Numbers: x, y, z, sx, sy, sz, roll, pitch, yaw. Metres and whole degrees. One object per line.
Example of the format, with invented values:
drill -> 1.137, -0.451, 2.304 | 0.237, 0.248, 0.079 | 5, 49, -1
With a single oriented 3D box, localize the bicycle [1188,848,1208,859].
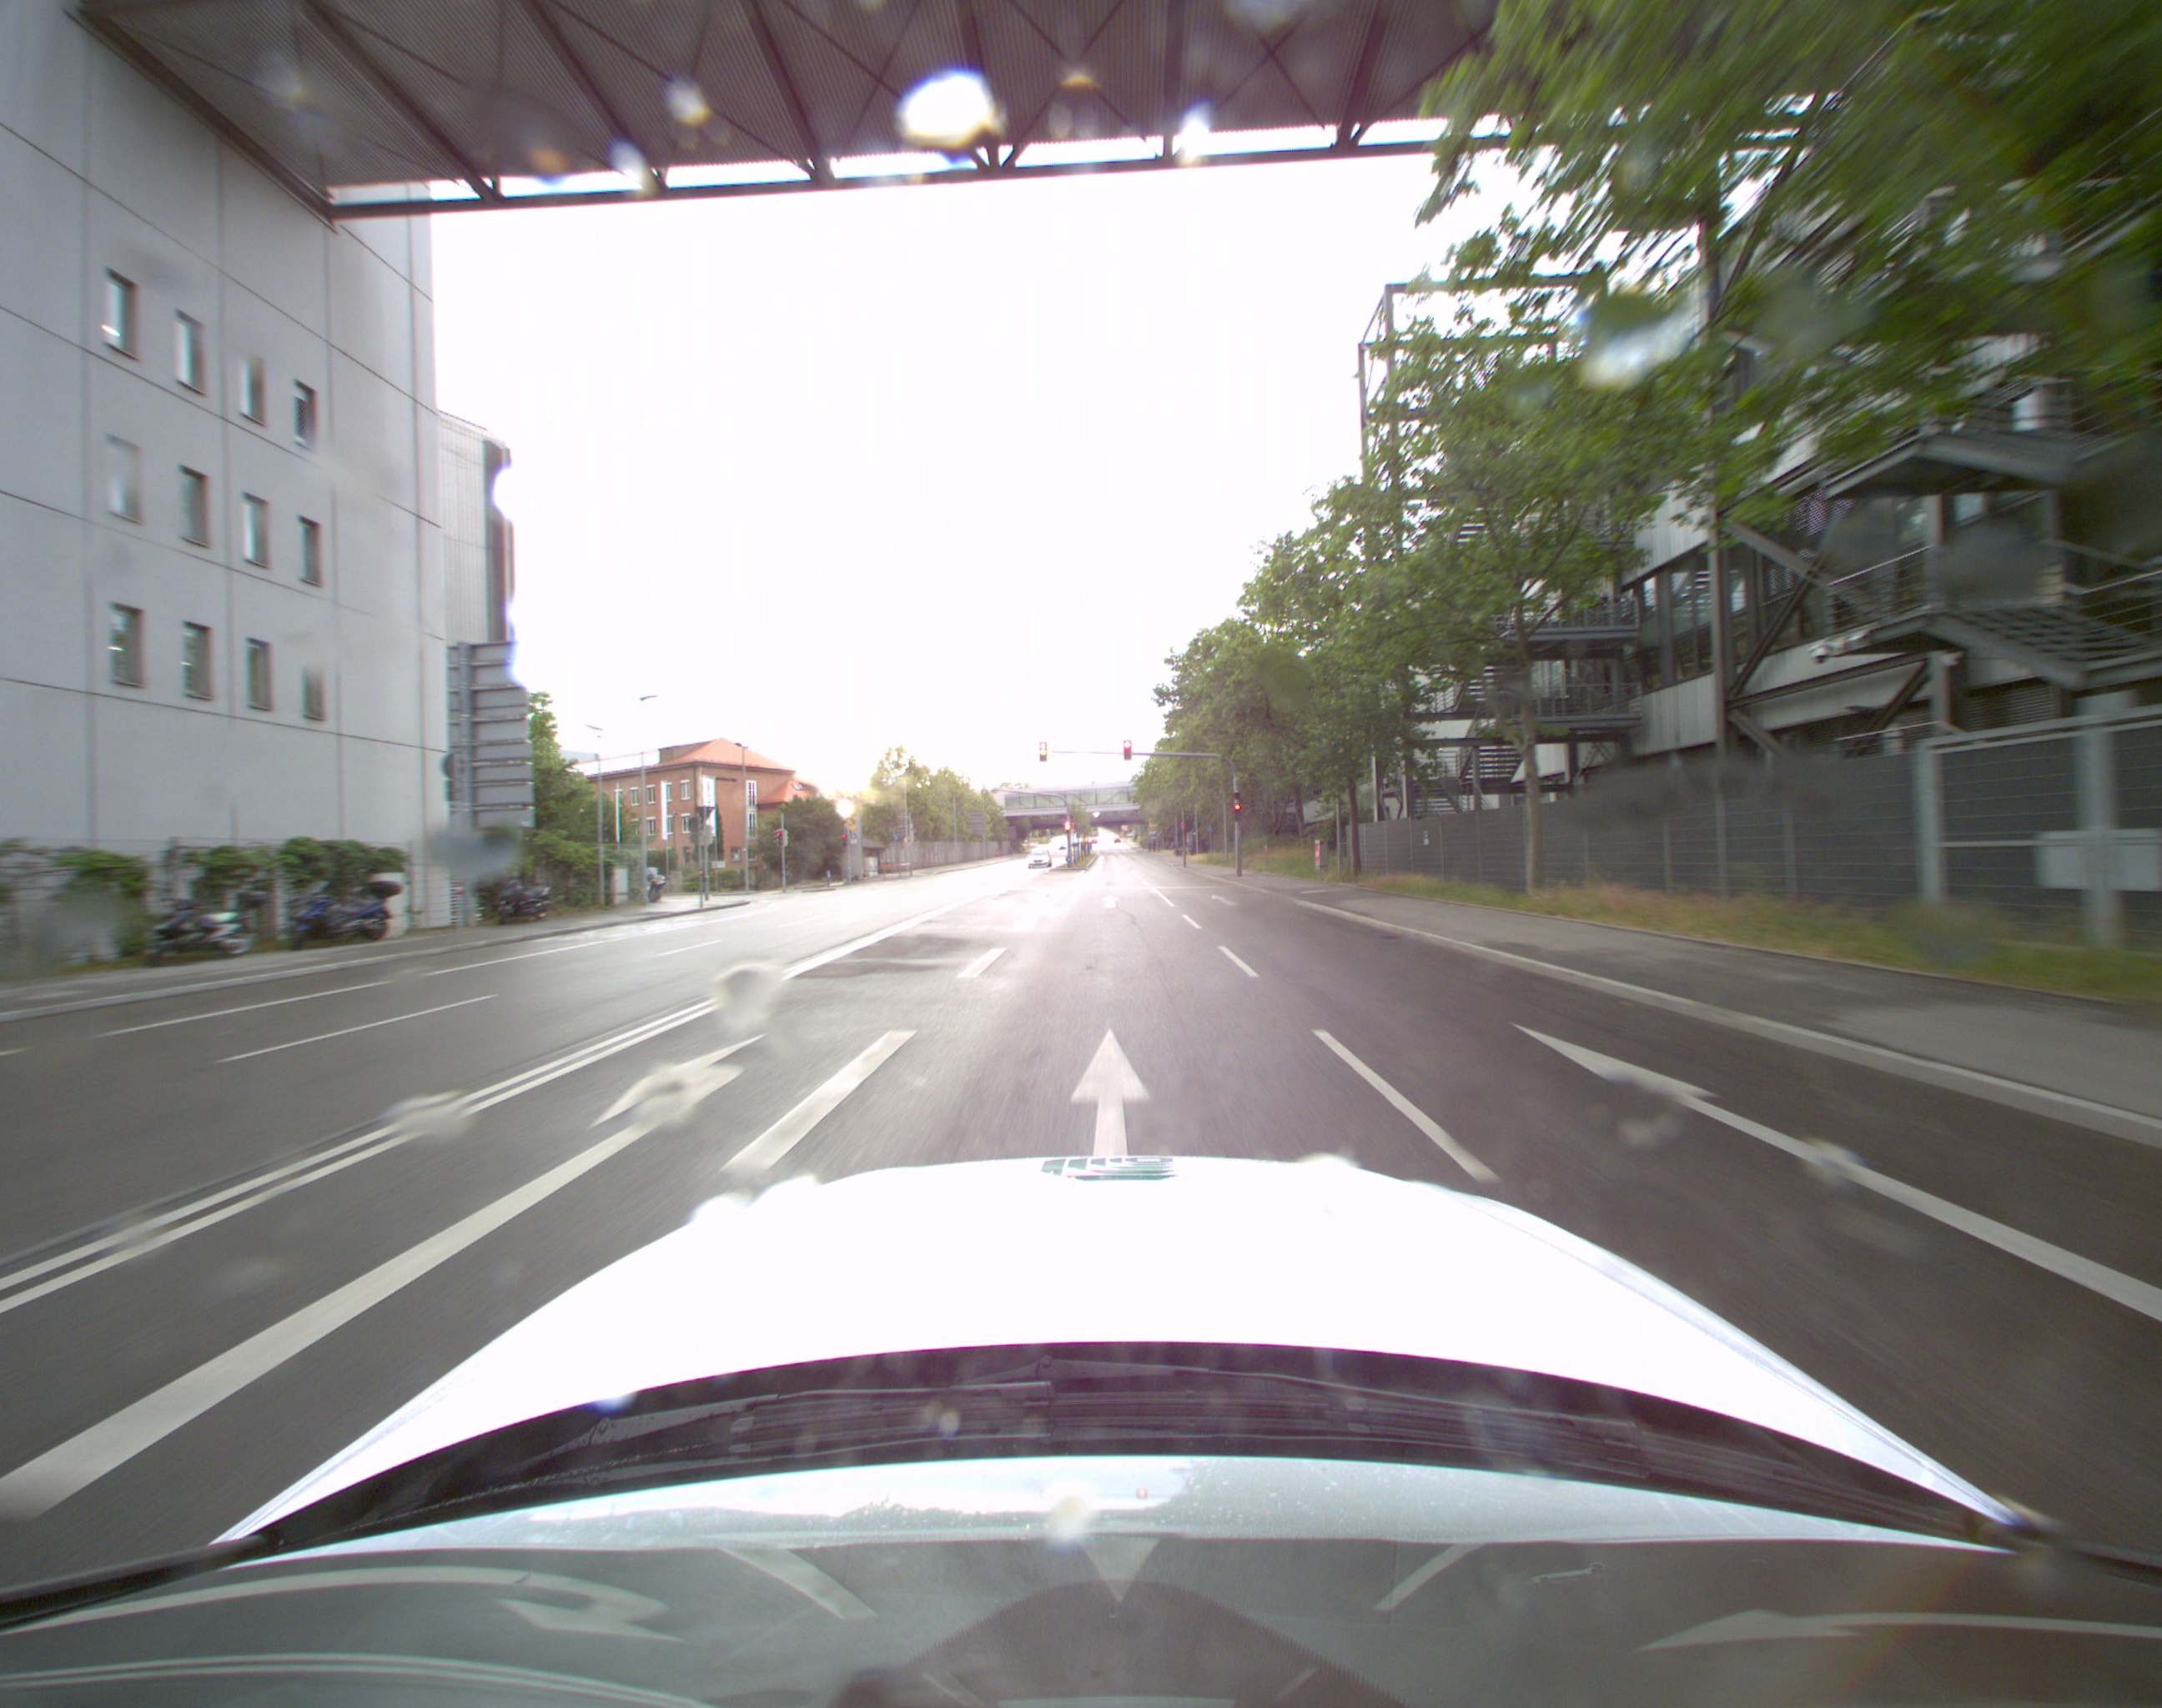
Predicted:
bicycle -> 11.780, -0.073, 82.241 | 1.982, 1.094, 0.541 | 0, -1, 3

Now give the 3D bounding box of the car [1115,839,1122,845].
car -> 10.692, -3.449, 231.119 | 1.867, 1.497, 4.071 | 0, -1, 3

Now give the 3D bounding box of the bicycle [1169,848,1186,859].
bicycle -> 11.113, -0.064, 93.736 | 1.982, 1.328, 0.576 | 0, -1, 3

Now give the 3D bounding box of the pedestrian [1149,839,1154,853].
pedestrian -> 10.691, -1.249, 123.619 | 0.619, 2.013, 0.606 | -3, 0, 2

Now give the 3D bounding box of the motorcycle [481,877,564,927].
motorcycle -> -15.769, 1.332, 23.066 | 0.782, 1.247, 2.158 | -2, 0, 1

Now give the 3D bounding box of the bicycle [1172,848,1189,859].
bicycle -> 11.796, -0.047, 96.245 | 1.982, 1.328, 0.576 | 0, -1, 3

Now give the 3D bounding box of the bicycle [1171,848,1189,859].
bicycle -> 11.075, -0.061, 91.019 | 1.982, 1.242, 0.541 | 0, -1, 3

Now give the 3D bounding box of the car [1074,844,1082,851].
car -> -0.730, -1.711, 207.551 | 1.870, 1.624, 3.781 | -2, 0, 3

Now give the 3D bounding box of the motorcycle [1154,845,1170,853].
motorcycle -> 12.860, -0.825, 129.385 | 2.354, 1.202, 0.724 | -3, 0, 10

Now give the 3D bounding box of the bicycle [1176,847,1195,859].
bicycle -> 11.371, -0.083, 88.682 | 1.982, 1.242, 0.541 | 0, -1, 3

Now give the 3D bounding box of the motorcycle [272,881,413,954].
motorcycle -> -15.819, 1.314, 17.552 | 0.782, 1.347, 2.370 | -2, 0, 1

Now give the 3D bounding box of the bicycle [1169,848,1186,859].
bicycle -> 11.502, -0.029, 96.968 | 1.982, 1.328, 0.576 | 0, -1, 3

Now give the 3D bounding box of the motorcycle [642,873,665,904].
motorcycle -> -18.113, 1.454, 34.560 | 0.774, 1.218, 2.487 | -2, 0, -27

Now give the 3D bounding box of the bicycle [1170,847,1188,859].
bicycle -> 11.458, -0.108, 95.403 | 1.982, 1.430, 0.723 | 0, -1, 3

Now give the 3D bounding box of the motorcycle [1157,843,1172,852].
motorcycle -> 12.936, -0.991, 126.165 | 2.354, 1.202, 0.724 | -3, 0, 10

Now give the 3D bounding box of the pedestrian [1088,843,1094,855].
pedestrian -> 1.853, -0.920, 150.095 | 0.857, 2.004, 0.866 | -3, 0, -30

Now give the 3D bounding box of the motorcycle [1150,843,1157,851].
motorcycle -> 13.265, -1.257, 148.284 | 0.789, 1.311, 2.371 | -3, 0, -6

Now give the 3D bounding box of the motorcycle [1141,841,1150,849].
motorcycle -> 12.145, -1.666, 153.388 | 0.792, 1.311, 2.364 | -3, 0, -15

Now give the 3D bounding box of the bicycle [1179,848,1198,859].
bicycle -> 11.286, -0.058, 85.329 | 1.982, 1.094, 0.541 | 0, -1, 3

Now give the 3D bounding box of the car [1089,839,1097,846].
car -> 3.415, -3.264, 235.002 | 1.985, 1.762, 4.003 | 0, -1, 3

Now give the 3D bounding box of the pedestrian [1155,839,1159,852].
pedestrian -> 11.538, -1.272, 123.672 | 0.619, 2.013, 0.606 | -3, 0, 2

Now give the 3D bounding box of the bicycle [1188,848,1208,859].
bicycle -> 11.754, -0.079, 81.673 | 1.982, 1.094, 0.541 | 0, -1, 3

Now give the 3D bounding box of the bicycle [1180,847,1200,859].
bicycle -> 11.166, -0.123, 83.725 | 1.982, 1.216, 0.541 | 0, -1, 3

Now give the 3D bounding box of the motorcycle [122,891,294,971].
motorcycle -> -16.058, 1.369, 15.079 | 0.782, 1.250, 2.158 | -2, 0, 1

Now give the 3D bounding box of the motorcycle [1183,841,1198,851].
motorcycle -> 18.144, -1.331, 134.687 | 2.354, 1.476, 0.724 | -3, 0, 10

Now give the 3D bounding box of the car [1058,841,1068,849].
car -> -4.095, -2.022, 185.612 | 1.870, 1.624, 3.781 | -2, 0, 3

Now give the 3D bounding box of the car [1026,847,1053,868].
car -> -3.437, 0.279, 68.254 | 1.870, 1.624, 3.781 | -2, 0, 3
